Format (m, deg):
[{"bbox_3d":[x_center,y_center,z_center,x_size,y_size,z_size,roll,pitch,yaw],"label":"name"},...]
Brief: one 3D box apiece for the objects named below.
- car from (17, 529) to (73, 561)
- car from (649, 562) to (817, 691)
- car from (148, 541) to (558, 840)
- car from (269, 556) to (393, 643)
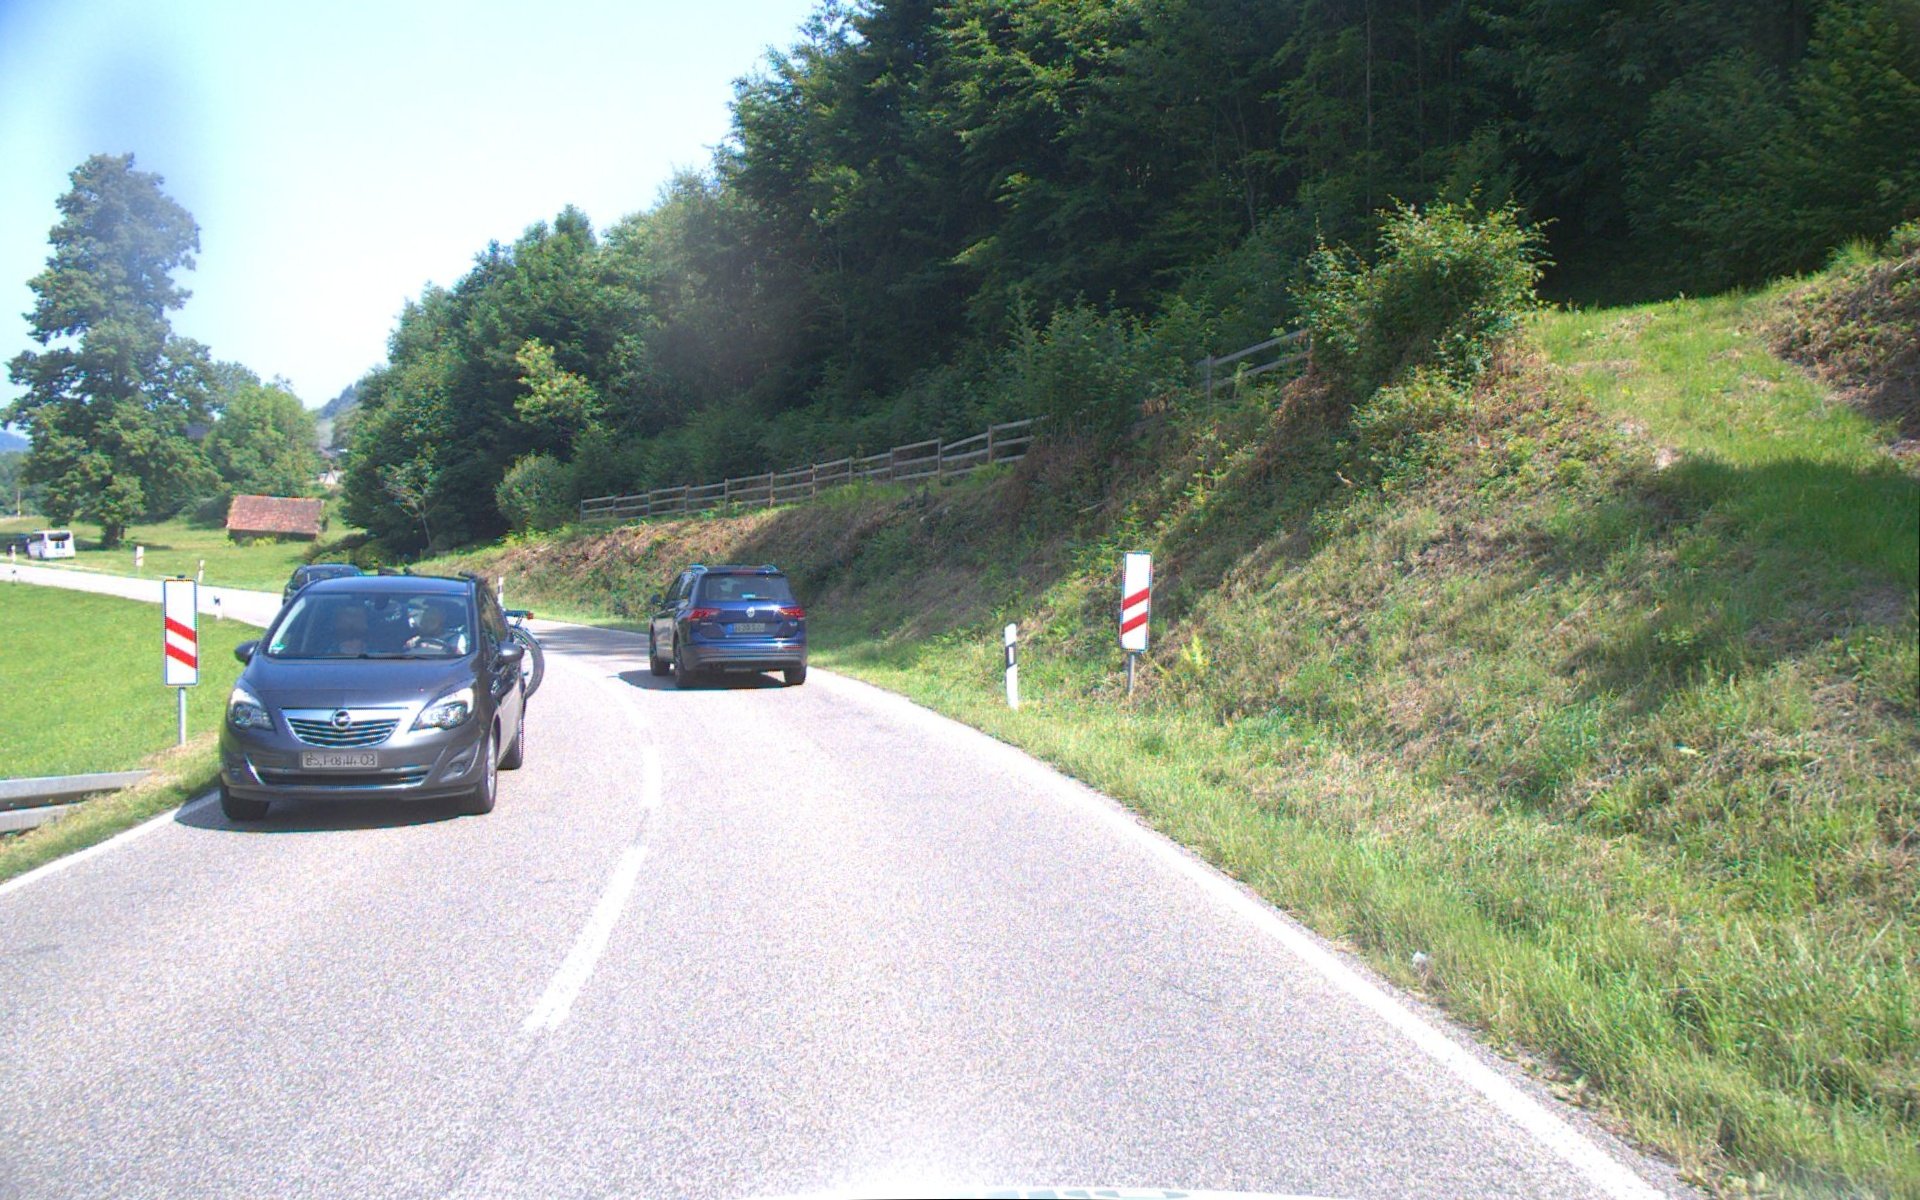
[{"bbox_3d":[-61.226,-3.701,110.673,1.991,1.879,4.791,-7,7,-43],"label":"car"},{"bbox_3d":[-3.364,0.296,23.880,1.823,1.678,4.122,0,1,-16],"label":"car"},{"bbox_3d":[-4.286,0.494,12.547,1.913,1.770,4.887,-1,1,-8],"label":"car"},{"bbox_3d":[-15.449,-0.073,40.492,1.859,1.612,4.548,-11,8,-30],"label":"car"}]
